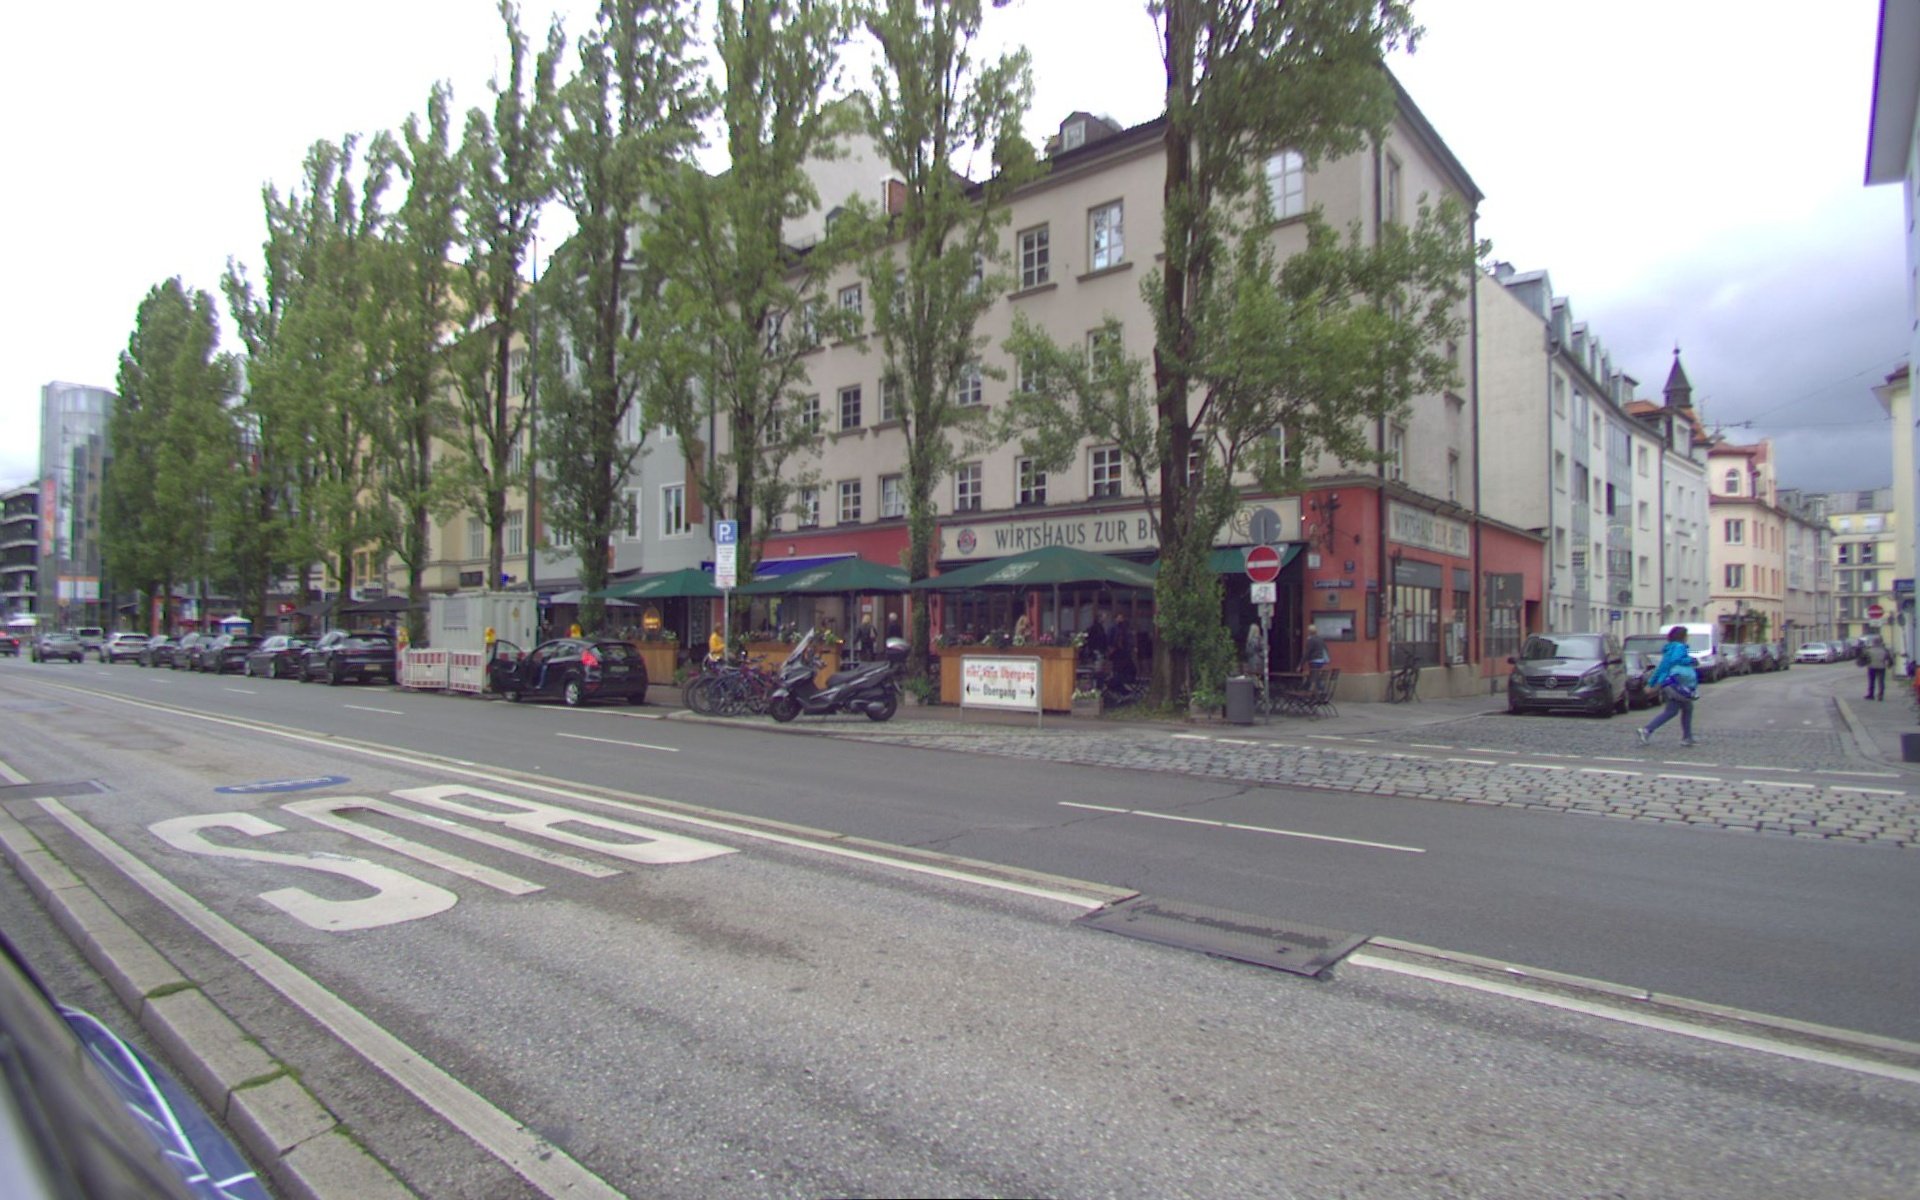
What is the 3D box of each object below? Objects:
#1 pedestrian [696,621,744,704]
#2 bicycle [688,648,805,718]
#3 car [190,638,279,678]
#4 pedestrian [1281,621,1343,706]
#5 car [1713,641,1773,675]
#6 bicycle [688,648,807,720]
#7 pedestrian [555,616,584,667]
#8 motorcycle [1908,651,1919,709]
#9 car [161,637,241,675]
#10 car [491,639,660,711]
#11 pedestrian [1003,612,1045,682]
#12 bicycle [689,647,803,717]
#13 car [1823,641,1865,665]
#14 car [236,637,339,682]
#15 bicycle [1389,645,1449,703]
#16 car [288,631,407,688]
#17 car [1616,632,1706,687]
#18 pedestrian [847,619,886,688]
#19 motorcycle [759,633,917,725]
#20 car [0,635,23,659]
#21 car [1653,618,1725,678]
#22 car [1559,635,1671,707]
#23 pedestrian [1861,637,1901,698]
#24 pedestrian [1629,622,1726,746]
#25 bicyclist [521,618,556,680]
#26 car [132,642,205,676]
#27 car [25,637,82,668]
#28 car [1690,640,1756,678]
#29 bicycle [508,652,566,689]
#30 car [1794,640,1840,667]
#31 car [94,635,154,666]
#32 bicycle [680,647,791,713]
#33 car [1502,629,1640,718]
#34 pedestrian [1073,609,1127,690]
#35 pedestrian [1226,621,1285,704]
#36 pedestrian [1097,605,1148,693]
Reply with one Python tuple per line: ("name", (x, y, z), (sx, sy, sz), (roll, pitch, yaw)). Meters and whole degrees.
("pedestrian", (-5.184, 1.332, 21.874), (0.731, 1.739, 0.691), (-2, -3, 38))
("bicycle", (-3.700, 1.430, 17.557), (1.949, 1.134, 0.283), (-1, 0, -12))
("car", (-28.006, 2.195, 39.021), (4.572, 1.451, 1.778), (-2, -3, 41))
("pedestrian", (7.240, 1.292, 20.828), (0.689, 1.659, 0.930), (2, 0, -44))
("car", (42.074, 3.114, 54.349), (1.984, 1.780, 4.520), (-2, -4, 44))
("bicycle", (-3.604, 1.421, 17.229), (1.949, 1.134, 0.362), (-1, 0, -12))
("pedestrian", (-14.991, 1.597, 38.851), (0.905, 1.941, 0.690), (-2, -3, 44))
("motorcycle", (21.833, 1.763, 22.651), (0.738, 1.213, 2.730), (-4, -5, 41))
("car", (-32.018, 2.338, 42.649), (4.572, 1.515, 1.778), (-2, -3, 41))
("car", (-8.450, 1.586, 22.159), (3.779, 1.433, 1.739), (-2, -3, 38))
("pedestrian", (1.516, 1.120, 24.143), (0.732, 1.636, 0.690), (-2, -3, 44))
("bicycle", (-3.761, 1.432, 17.834), (1.949, 1.134, 0.283), (-1, 0, -12))
("car", (67.483, 4.058, 77.226), (4.517, 1.780, 1.985), (3, -4, -43))
("car", (-23.115, 2.006, 34.722), (4.572, 1.451, 1.778), (-2, -3, 41))
("bicycle", (10.159, 1.603, 22.354), (0.645, 1.214, 2.317), (-2, -3, 39))
("car", (-18.649, 1.765, 30.733), (4.572, 1.625, 1.778), (-2, -3, 41))
("car", (24.223, 2.036, 34.905), (2.116, 1.780, 4.525), (-2, -4, 40))
("pedestrian", (-2.669, 1.513, 28.995), (0.905, 1.941, 0.690), (-2, -3, 44))
("motorcycle", (-1.944, 1.248, 16.264), (2.426, 1.425, 0.744), (0, -2, 8))
("car", (-63.077, 3.044, 66.443), (4.360, 1.530, 1.728), (-2, -3, 40))
("car", (30.565, 2.016, 42.399), (1.982, 2.384, 4.523), (-2, -4, 41))
("car", (17.764, 1.889, 27.356), (1.982, 1.780, 4.525), (-2, -4, 40))
("pedestrian", (25.516, 1.856, 28.053), (0.699, 1.659, 0.856), (-2, -3, 37))
("pedestrian", (10.002, 1.146, 14.138), (0.945, 1.659, 0.694), (-1, -2, 25))
("bicyclist", (-11.870, 1.376, 28.487), (0.816, 1.718, 0.598), (-2, -2, 42))
("car", (-36.241, 2.660, 46.319), (4.572, 1.451, 1.778), (-2, -3, 41))
("car", (-47.878, 2.763, 53.424), (4.075, 1.553, 1.695), (-2, -4, 41))
("car", (37.568, 2.876, 49.794), (1.984, 1.780, 4.520), (-2, -4, 45))
("bicycle", (-11.942, 1.961, 28.526), (2.173, 0.976, 0.605), (-2, -2, 41))
("car", (59.027, 3.718, 69.681), (4.518, 1.780, 1.985), (4, -4, -44))
("car", (-44.072, 2.650, 53.342), (4.102, 1.590, 1.778), (-2, -3, 41))
("bicycle", (-4.091, 1.451, 18.516), (1.949, 1.134, 0.343), (-1, 0, -12))
("car", (13.867, 1.615, 22.868), (1.982, 1.780, 4.525), (-2, -4, 40))
("pedestrian", (3.077, 1.075, 22.311), (0.950, 1.735, 0.690), (-2, -3, 44))
("pedestrian", (6.078, 1.267, 20.824), (0.689, 1.659, 0.930), (2, -3, -44))
("pedestrian", (3.687, 1.105, 22.931), (0.905, 1.941, 0.690), (-2, -3, 44))
